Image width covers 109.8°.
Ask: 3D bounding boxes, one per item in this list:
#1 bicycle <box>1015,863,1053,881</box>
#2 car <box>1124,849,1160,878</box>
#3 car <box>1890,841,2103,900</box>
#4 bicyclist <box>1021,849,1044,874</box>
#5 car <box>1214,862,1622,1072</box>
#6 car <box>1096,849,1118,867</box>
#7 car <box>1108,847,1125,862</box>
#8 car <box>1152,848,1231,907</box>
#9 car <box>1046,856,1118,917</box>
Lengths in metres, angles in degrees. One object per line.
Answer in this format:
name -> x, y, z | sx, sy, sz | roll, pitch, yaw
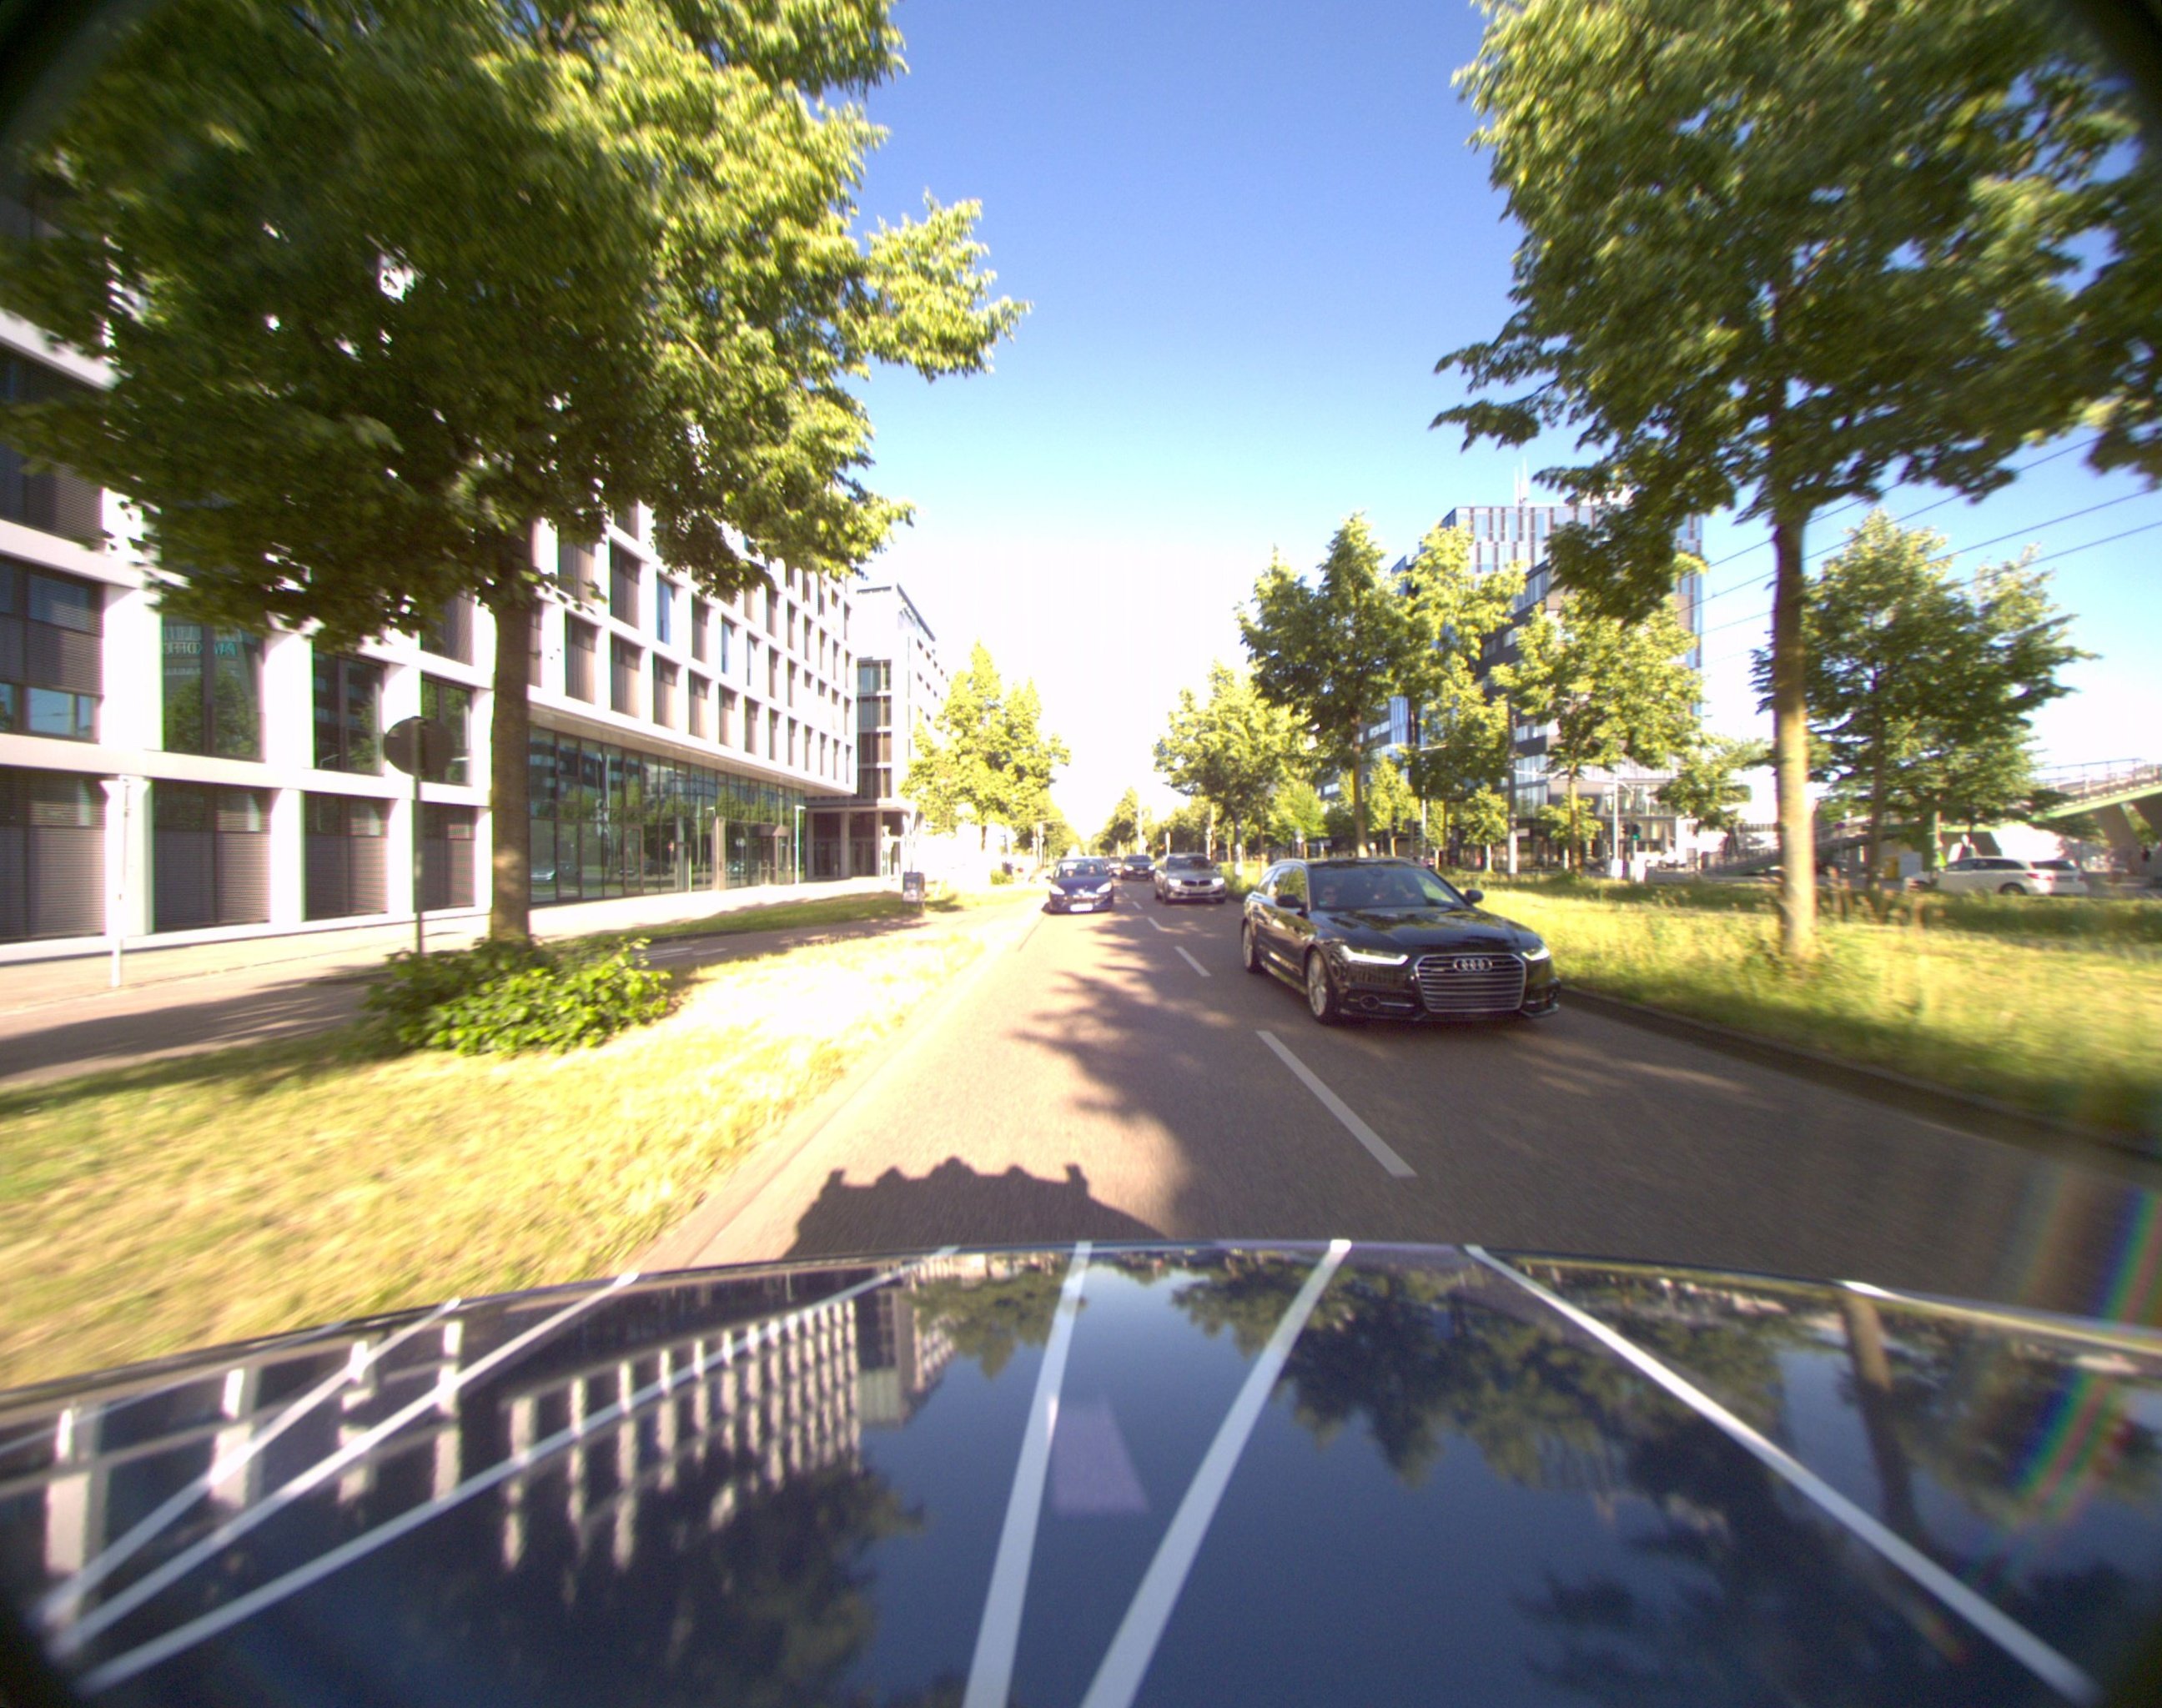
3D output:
bicycle -> -2.489, 0.951, 40.208 | 1.927, 0.899, 0.647 | -1, 1, 4
car -> 3.563, 0.518, 44.795 | 1.950, 1.514, 4.000 | -2, 1, 3
car -> 31.841, 0.507, 26.675 | 2.106, 1.798, 4.420 | -2, 1, -1
bicyclist -> -2.564, 0.409, 40.213 | 1.086, 1.315, 0.639 | -1, 1, 4
car -> 2.871, 0.841, 7.999 | 1.958, 1.471, 5.084 | -1, -1, -1
car -> 2.319, 0.339, 68.562 | 1.782, 1.571, 3.783 | -2, 1, 1
car -> 4.117, 0.062, 88.515 | 1.782, 1.571, 3.783 | -2, 1, 1
car -> 3.331, 0.656, 23.749 | 1.886, 1.569, 4.277 | -2, 1, 1
car -> 0.098, 0.841, 21.490 | 1.766, 1.462, 4.000 | -2, 1, 2
